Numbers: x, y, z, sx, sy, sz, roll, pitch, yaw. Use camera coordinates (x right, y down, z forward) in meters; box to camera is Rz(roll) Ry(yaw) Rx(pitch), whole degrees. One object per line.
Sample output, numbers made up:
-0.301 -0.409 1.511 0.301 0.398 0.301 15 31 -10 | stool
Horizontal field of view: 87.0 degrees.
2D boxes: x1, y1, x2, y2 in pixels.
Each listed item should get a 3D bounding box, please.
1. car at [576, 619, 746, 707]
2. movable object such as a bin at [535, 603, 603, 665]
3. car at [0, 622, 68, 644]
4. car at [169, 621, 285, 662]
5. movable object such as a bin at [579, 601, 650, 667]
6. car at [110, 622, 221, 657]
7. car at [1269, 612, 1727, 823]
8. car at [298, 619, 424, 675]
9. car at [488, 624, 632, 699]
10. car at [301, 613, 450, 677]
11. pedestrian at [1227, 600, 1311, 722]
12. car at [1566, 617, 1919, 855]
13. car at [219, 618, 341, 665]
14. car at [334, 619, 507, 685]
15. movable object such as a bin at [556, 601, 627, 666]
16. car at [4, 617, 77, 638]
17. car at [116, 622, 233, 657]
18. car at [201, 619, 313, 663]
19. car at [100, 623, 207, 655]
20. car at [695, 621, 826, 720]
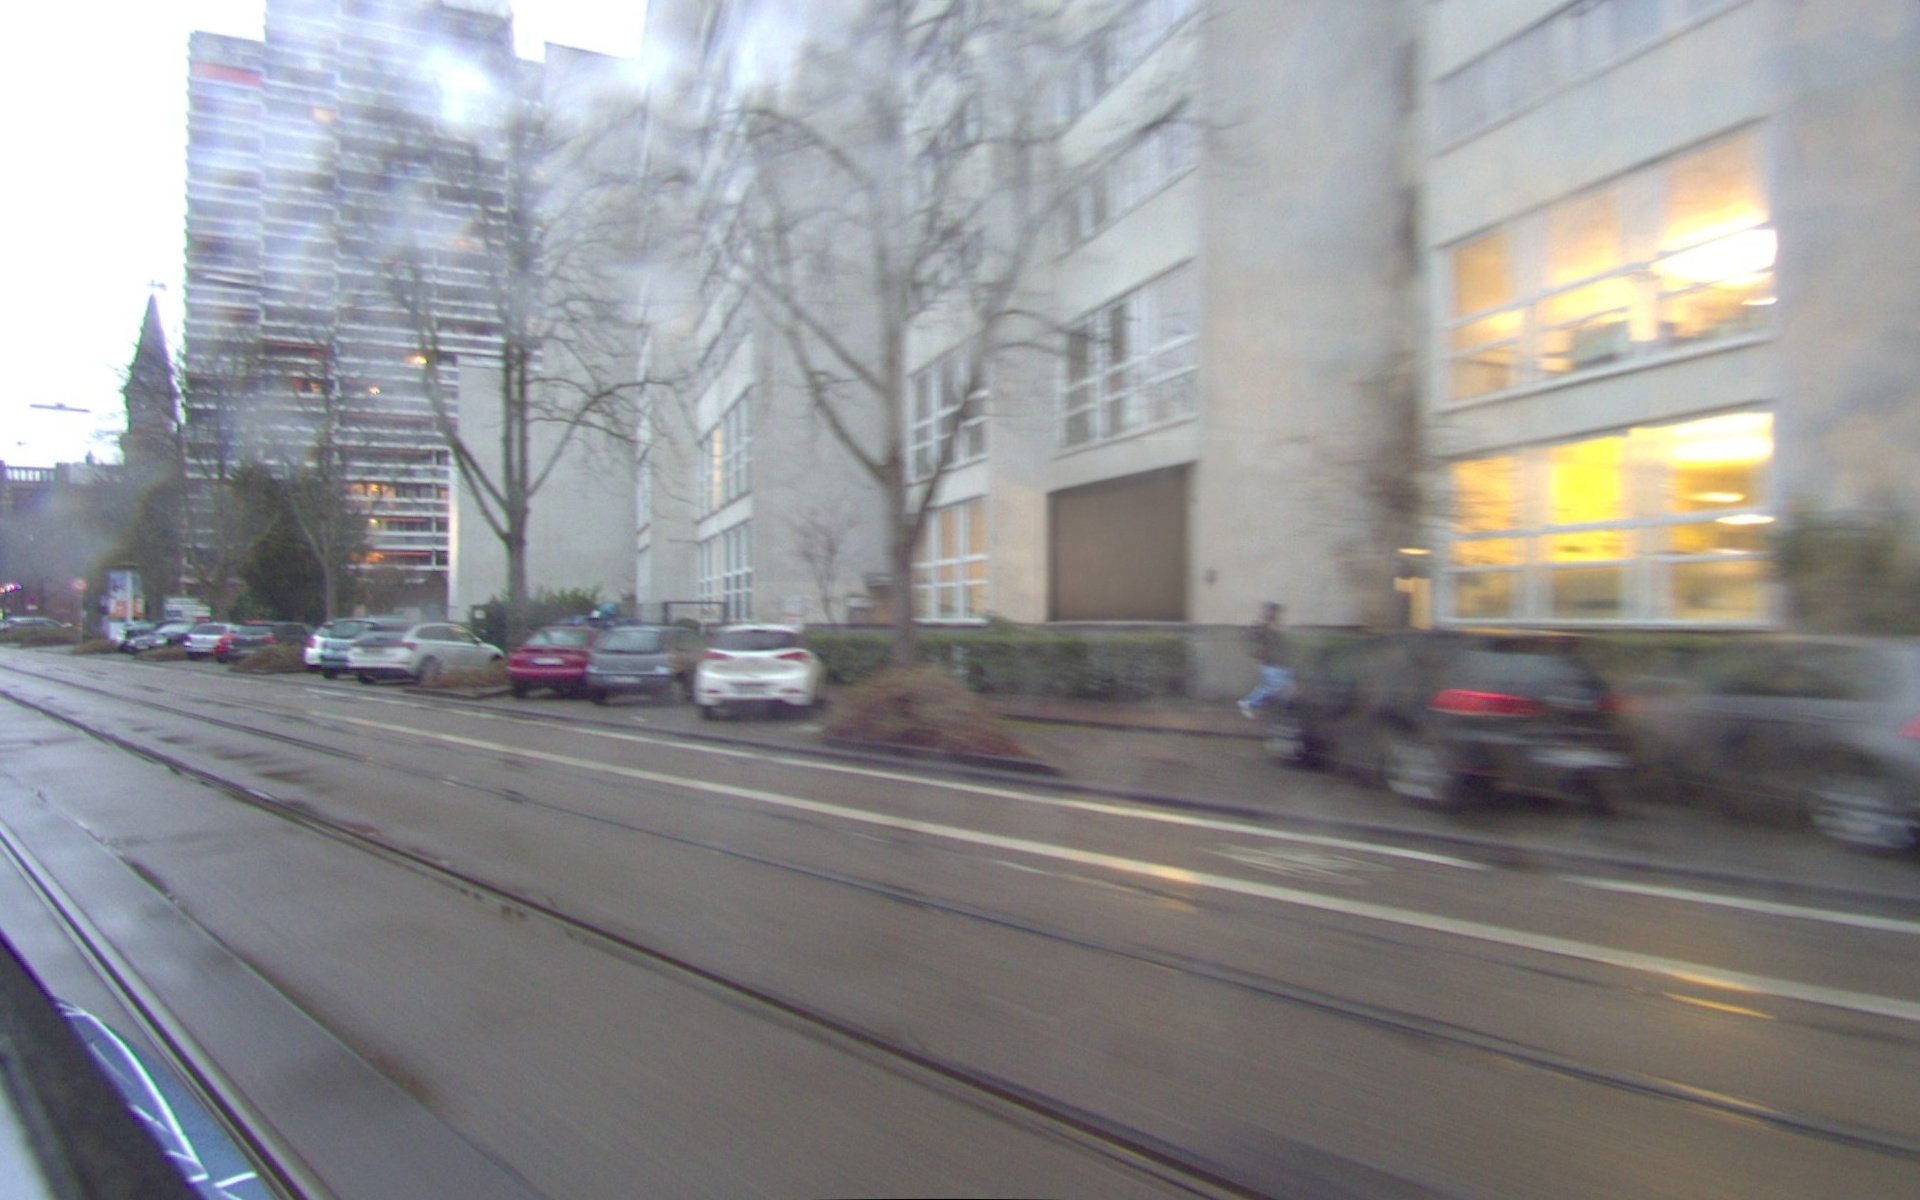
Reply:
-5.581 1.146 19.418 1.715 1.474 3.992 1 -2 6 | car
-12.178 1.069 31.524 1.317 1.874 1.553 -3 -4 42 | movable object such as a bin
-65.963 2.332 71.810 3.939 1.497 1.674 1 -3 -43 | car
-27.804 1.569 38.543 1.765 1.457 4.004 0 -2 -5 | car
-10.121 1.001 29.650 1.317 1.874 1.553 -3 -4 42 | movable object such as a bin
-35.361 1.750 45.184 1.829 1.474 4.000 0 -2 -1 | car
4.471 0.885 9.247 1.804 1.482 4.003 0 -1 -4 | car
-17.814 1.380 30.307 1.668 1.563 3.879 0 -2 -4 | car
-8.095 1.216 20.899 1.722 1.362 4.354 1 -2 -7 | car
-15.454 1.185 27.017 1.712 1.575 4.000 0 -2 -1 | car
4.415 0.859 14.478 0.972 1.690 0.590 -2 -3 41 | pedestrian
6.656 0.863 7.470 1.822 1.439 4.001 0 -2 -2 | car
-22.877 1.387 34.242 1.671 1.504 3.856 0 -2 -3 | car
-13.102 1.242 24.862 1.716 1.455 3.990 1 -2 8 | car
-11.138 1.019 30.592 1.393 1.874 1.553 -3 -4 42 | movable object such as a bin
-67.911 2.067 74.820 3.939 1.497 1.674 1 -3 -43 | car
-32.731 1.630 42.312 1.829 1.389 4.000 0 -2 -1 | car
-25.487 1.491 36.812 1.705 1.504 3.451 0 -2 -1 | car
-37.663 1.832 47.389 1.829 1.410 4.000 0 -2 -1 | car
-3.166 1.093 16.692 1.710 1.434 3.856 0 -2 -5 | car
